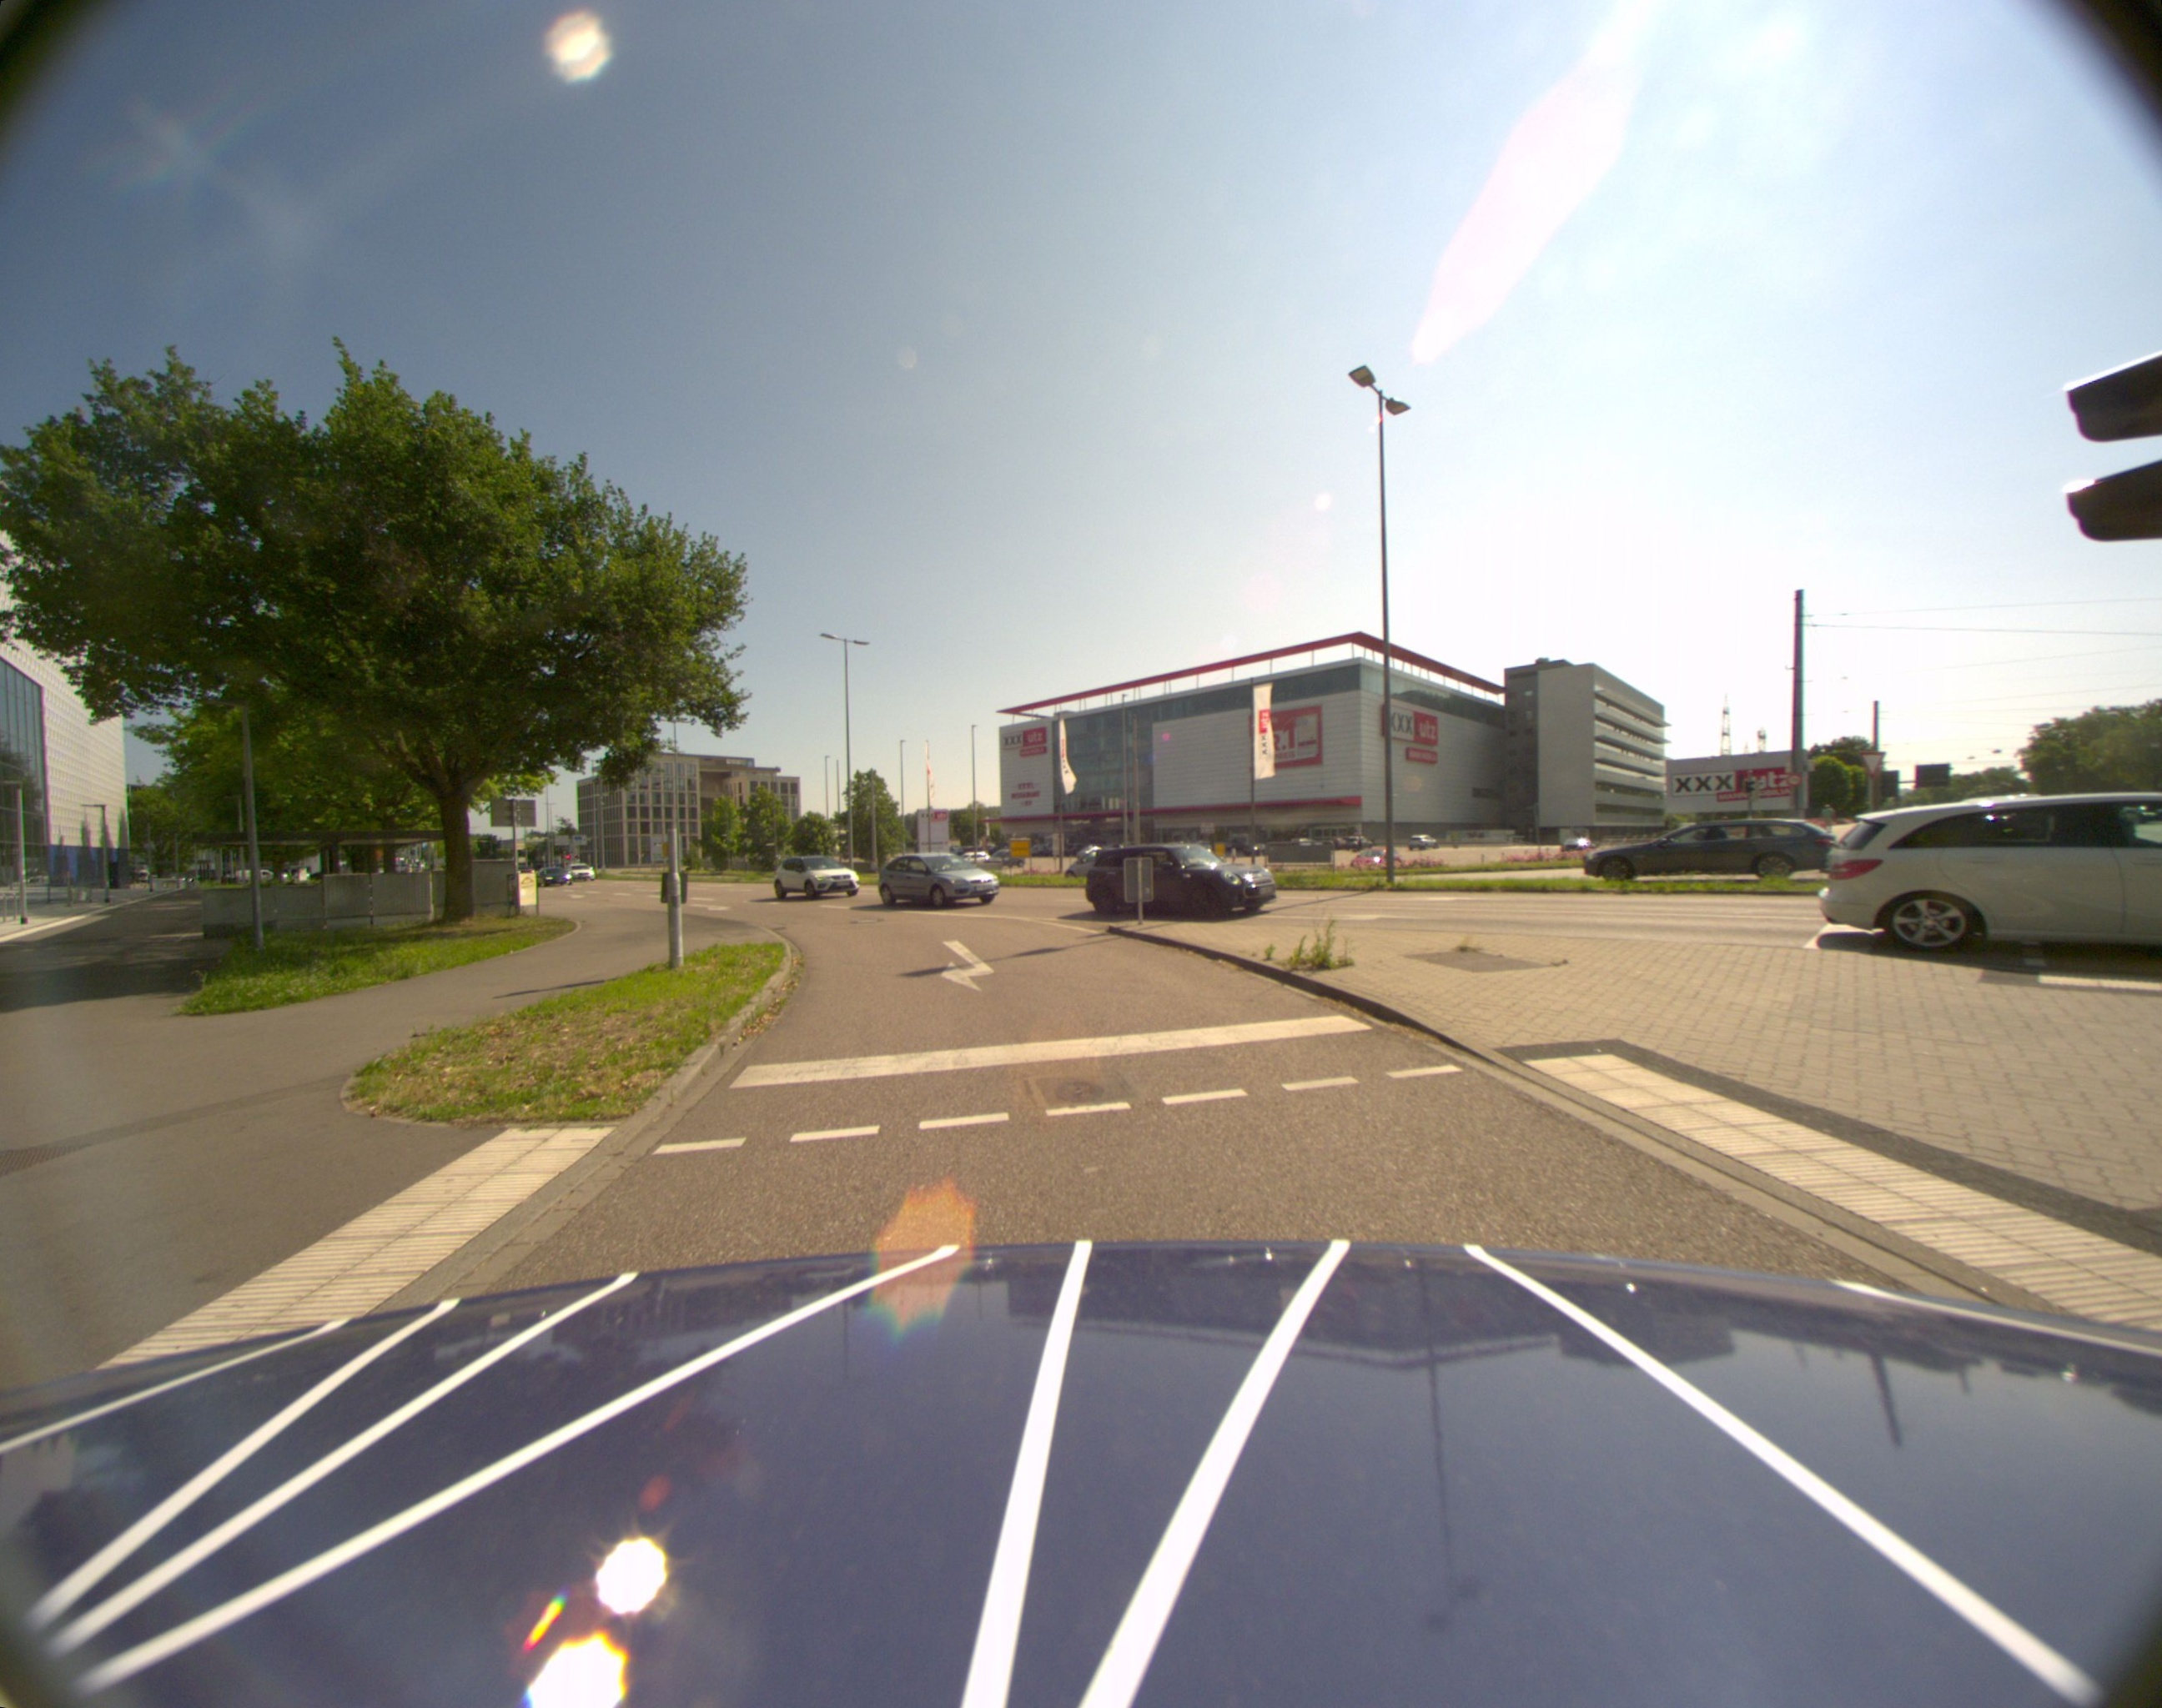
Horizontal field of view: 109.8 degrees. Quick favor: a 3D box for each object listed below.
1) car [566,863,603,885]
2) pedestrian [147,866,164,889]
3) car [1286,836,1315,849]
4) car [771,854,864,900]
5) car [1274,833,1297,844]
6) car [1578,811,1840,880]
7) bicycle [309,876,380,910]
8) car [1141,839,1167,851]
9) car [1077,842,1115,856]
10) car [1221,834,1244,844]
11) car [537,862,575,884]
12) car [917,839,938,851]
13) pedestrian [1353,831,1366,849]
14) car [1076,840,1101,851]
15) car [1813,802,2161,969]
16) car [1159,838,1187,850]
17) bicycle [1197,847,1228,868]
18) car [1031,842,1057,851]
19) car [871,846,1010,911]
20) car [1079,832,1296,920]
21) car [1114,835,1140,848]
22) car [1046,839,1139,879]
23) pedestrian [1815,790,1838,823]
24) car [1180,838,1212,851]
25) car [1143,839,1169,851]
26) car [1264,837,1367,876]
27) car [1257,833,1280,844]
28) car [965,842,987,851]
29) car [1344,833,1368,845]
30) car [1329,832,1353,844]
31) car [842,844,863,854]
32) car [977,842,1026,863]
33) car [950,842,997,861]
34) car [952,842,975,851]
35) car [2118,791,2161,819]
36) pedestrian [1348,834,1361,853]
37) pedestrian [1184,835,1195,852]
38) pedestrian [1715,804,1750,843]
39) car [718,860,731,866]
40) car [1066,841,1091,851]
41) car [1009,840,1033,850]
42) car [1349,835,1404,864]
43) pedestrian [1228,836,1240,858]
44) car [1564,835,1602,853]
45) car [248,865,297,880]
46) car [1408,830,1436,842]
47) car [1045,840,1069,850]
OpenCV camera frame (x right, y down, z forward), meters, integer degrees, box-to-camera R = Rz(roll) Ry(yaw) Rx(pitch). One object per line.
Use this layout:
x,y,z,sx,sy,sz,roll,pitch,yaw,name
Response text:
-45.290,1.792,69.265,2.030,1.828,4.299,-4,3,-44,car
-66.805,1.685,54.828,0.769,1.603,0.691,-1,1,42,pedestrian
23.807,-1.247,82.474,1.774,1.322,3.103,1,3,45,car
-9.624,0.856,27.617,1.639,1.489,3.860,-5,1,-43,car
25.875,-1.930,96.158,1.362,1.260,3.103,1,3,45,car
15.413,-0.168,18.859,4.801,1.494,2.069,-2,1,44,car
-26.274,1.379,27.122,1.767,1.090,0.451,-3,1,-44,bicycle
8.836,-1.058,91.983,1.511,1.322,3.103,1,3,45,car
1.724,-0.567,84.623,1.511,1.322,4.511,1,3,45,car
20.159,-2.054,101.226,1.511,1.218,3.103,1,3,45,car
-40.513,1.411,58.572,1.775,1.456,4.226,-4,4,-42,car
-25.670,-1.527,127.126,1.687,1.748,3.103,1,3,45,car
30.753,-1.568,83.840,0.951,2.002,0.973,-2,1,-43,pedestrian
0.932,-1.163,99.441,1.511,1.322,3.103,1,3,45,car
10.063,0.244,7.270,4.376,1.440,1.750,-1,2,45,car
10.889,-1.203,90.207,1.584,1.322,3.422,-1,1,42,car
6.677,0.164,38.740,1.638,1.017,0.332,2,3,42,bicycle
-5.229,-1.076,106.425,1.476,1.192,3.517,1,3,45,car
-4.093,0.658,21.682,4.162,1.564,1.714,-1,3,44,car
2.077,0.419,15.733,1.746,1.503,4.188,-6,3,-44,car
6.289,-1.712,103.665,1.658,1.621,3.579,-1,2,41,car
0.492,0.227,34.056,3.906,1.615,1.635,-3,1,37,car
46.626,-2.963,47.525,0.719,1.961,0.915,-4,4,-40,pedestrian
13.442,-1.130,88.726,1.511,1.322,4.322,1,3,45,car
9.089,-1.129,91.955,1.511,1.322,3.103,1,3,45,car
6.485,0.082,21.135,1.123,0.998,2.485,-3,1,-42,car
24.404,-1.999,98.790,1.511,1.322,3.103,1,3,45,car
-16.382,-1.206,118.669,1.511,1.322,3.230,1,3,45,car
32.709,-1.788,90.211,1.511,1.322,3.103,1,3,45,car
31.583,-1.979,92.230,1.511,1.322,3.103,1,3,45,car
-36.999,-0.847,122.955,1.769,1.547,2.781,-1,1,45,car
-7.597,-0.147,72.731,4.435,1.832,1.940,-3,3,-45,car
-10.833,-0.269,76.608,1.866,1.619,4.434,1,4,44,car
-18.617,-1.219,120.279,1.511,1.322,3.230,1,3,45,car
60.689,-2.775,42.911,1.902,1.564,3.844,1,3,45,car
29.943,-1.158,83.155,0.951,2.002,0.973,-3,2,-43,pedestrian
12.166,-1.158,85.191,0.858,1.847,0.749,-2,1,-44,pedestrian
29.464,-1.362,34.379,0.906,1.697,0.841,-2,1,-18,pedestrian
-65.002,1.713,138.636,0.887,0.970,1.947,1,3,43,car
-0.345,-1.066,100.756,3.103,1.287,1.511,-4,3,-45,car
-8.670,-1.248,109.605,1.699,1.322,3.103,1,3,45,car
17.969,-0.289,46.116,1.821,1.597,4.204,1,3,41,car
13.312,-0.614,66.099,0.784,1.884,0.498,-2,1,-14,pedestrian
39.654,-0.791,59.987,1.724,1.322,3.867,1,3,45,car
-122.648,2.747,115.377,1.735,1.996,5.010,2,3,44,car
37.955,-2.017,84.524,1.746,1.322,3.681,1,3,45,car
-3.310,-1.224,104.148,1.511,1.322,3.103,1,3,45,car
